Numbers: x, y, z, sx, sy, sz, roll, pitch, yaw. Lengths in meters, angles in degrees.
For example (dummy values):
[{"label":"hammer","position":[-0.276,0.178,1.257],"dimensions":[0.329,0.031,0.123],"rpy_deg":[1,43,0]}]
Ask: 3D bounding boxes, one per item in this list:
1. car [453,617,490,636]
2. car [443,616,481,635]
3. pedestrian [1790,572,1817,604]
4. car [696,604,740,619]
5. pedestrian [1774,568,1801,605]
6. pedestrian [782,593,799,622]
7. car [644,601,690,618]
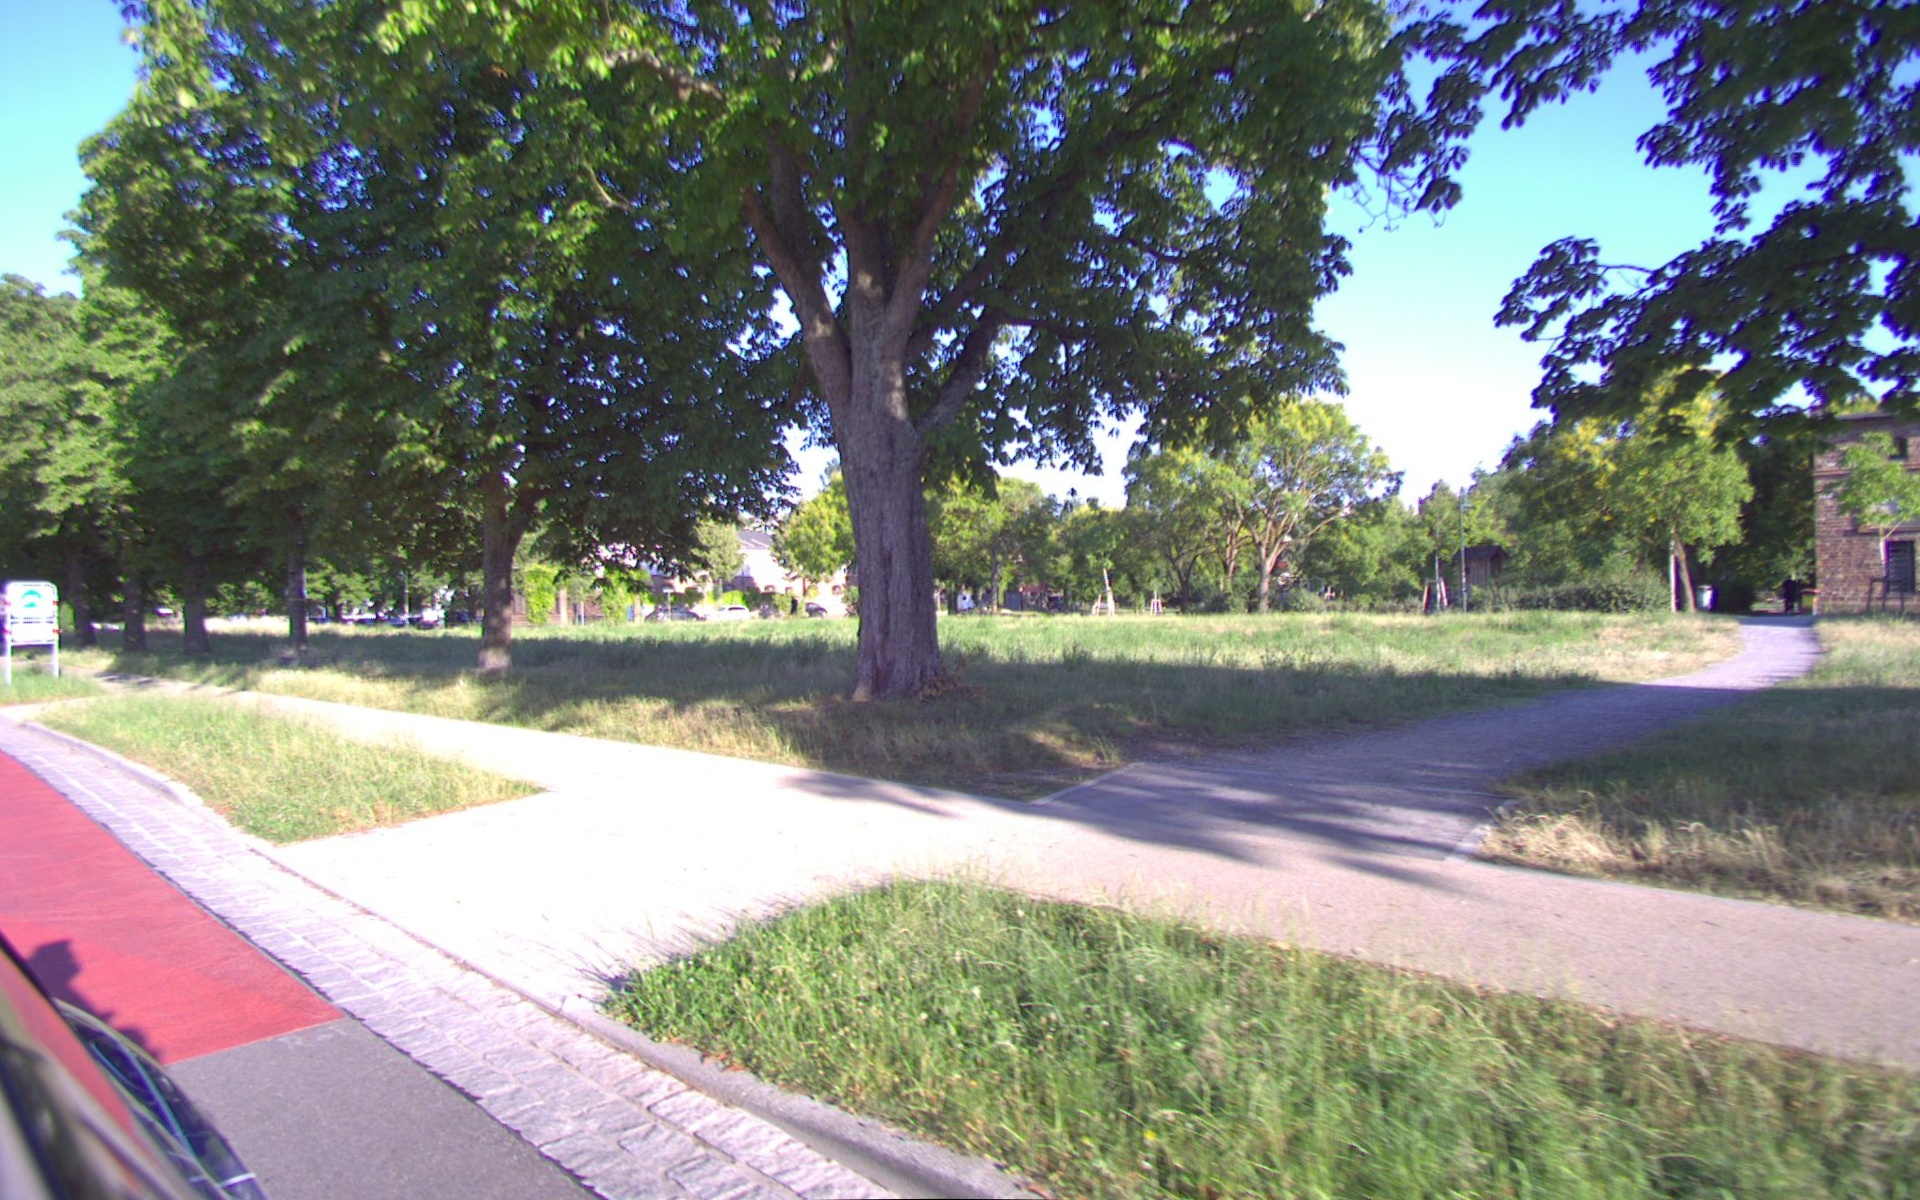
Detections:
[{"label":"car","position":[-46.603,2.521,96.447],"dimensions":[3.998,1.641,1.744],"rpy_deg":[-2,0,41]},{"label":"car","position":[-41.837,2.101,85.033],"dimensions":[3.639,1.492,1.564],"rpy_deg":[-1,1,42]},{"label":"pedestrian","position":[40.573,-0.563,48.703],"dimensions":[0.773,1.523,0.838],"rpy_deg":[-2,1,-39]},{"label":"car","position":[-22.324,1.057,93.437],"dimensions":[1.586,1.290,3.589],"rpy_deg":[-1,1,42]},{"label":"pedestrian","position":[39.778,-0.639,48.631],"dimensions":[0.773,1.725,0.838],"rpy_deg":[-2,1,-39]},{"label":"pedestrian","position":[-10.125,0.451,60.392],"dimensions":[0.709,1.737,0.774],"rpy_deg":[-2,0,13]},{"label":"car","position":[-25.693,0.822,88.913],"dimensions":[1.586,1.290,3.589],"rpy_deg":[-1,1,42]}]
